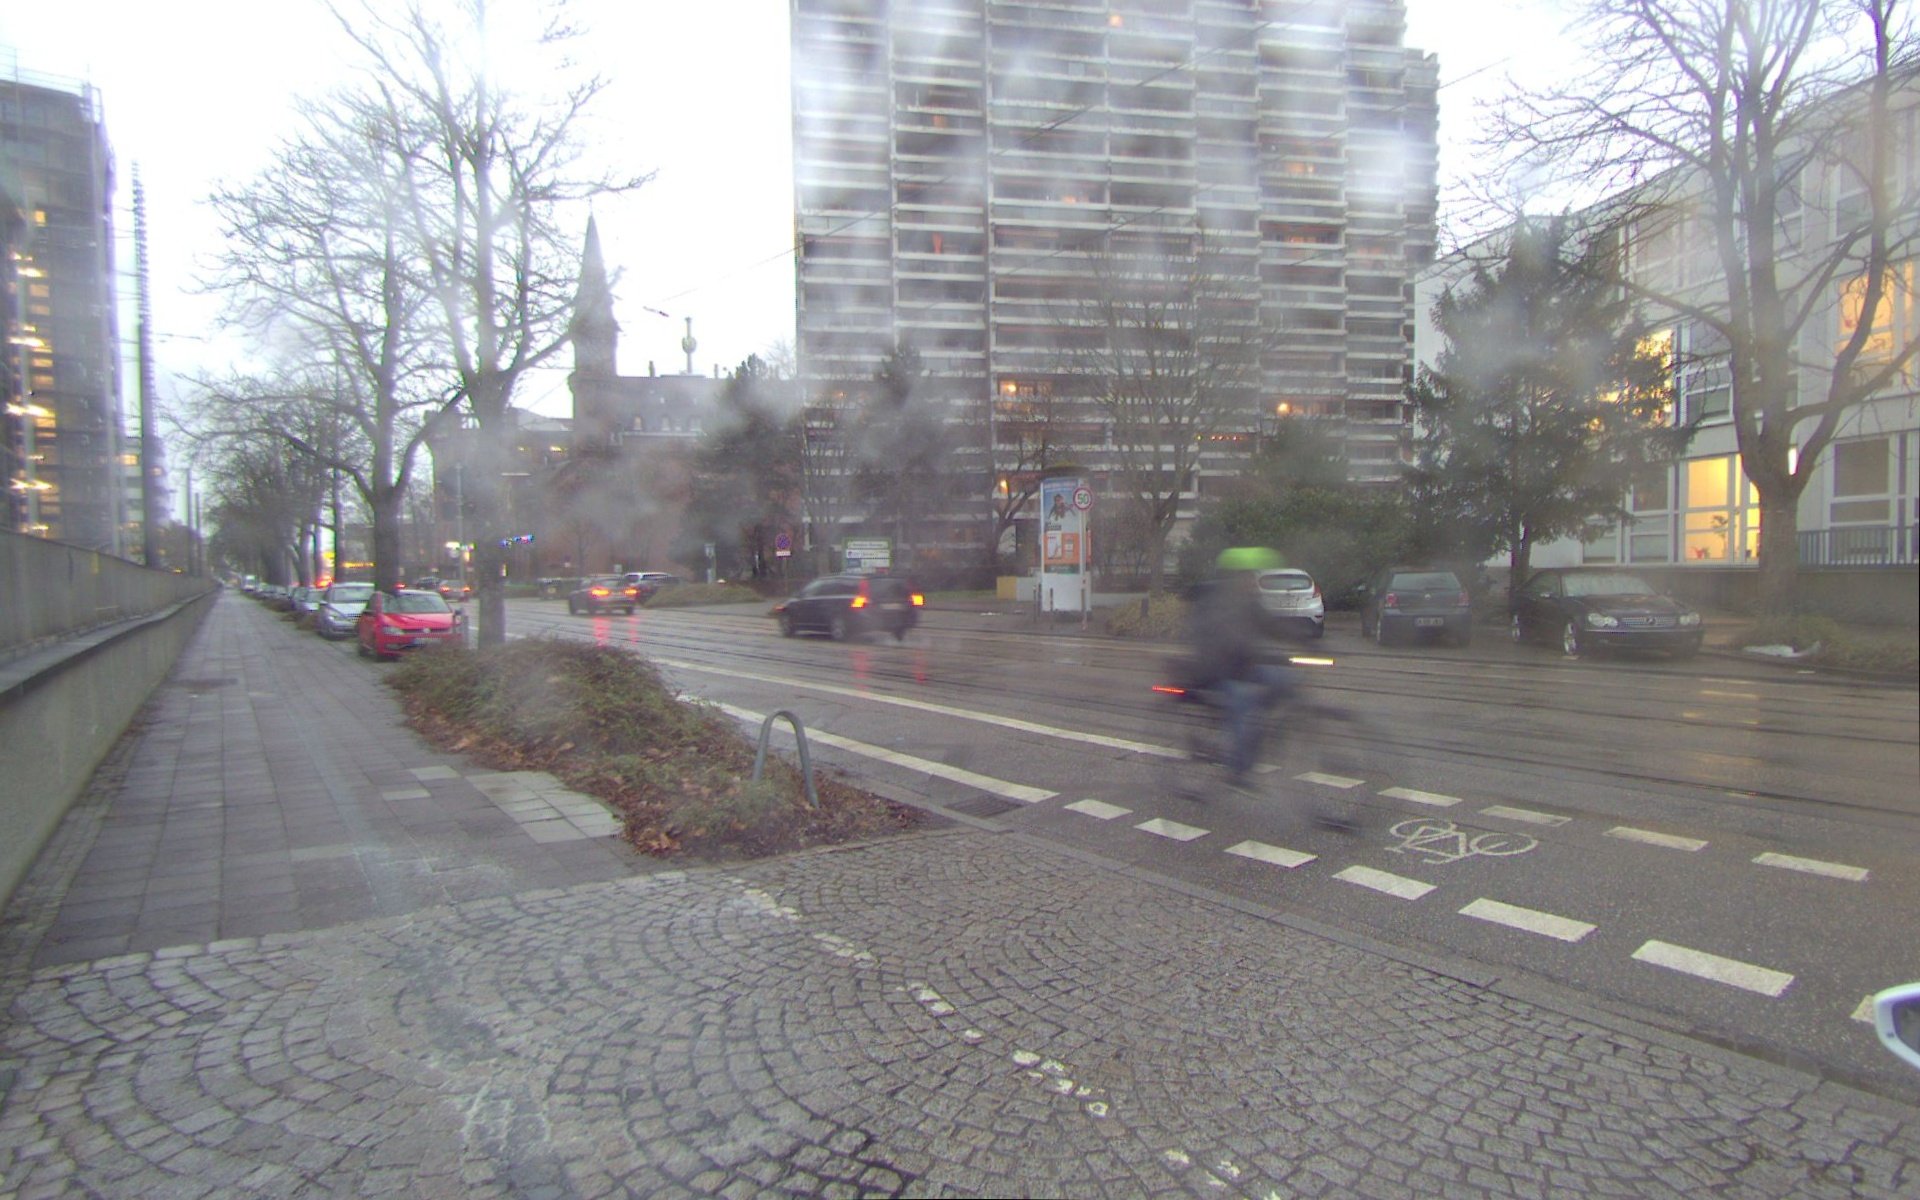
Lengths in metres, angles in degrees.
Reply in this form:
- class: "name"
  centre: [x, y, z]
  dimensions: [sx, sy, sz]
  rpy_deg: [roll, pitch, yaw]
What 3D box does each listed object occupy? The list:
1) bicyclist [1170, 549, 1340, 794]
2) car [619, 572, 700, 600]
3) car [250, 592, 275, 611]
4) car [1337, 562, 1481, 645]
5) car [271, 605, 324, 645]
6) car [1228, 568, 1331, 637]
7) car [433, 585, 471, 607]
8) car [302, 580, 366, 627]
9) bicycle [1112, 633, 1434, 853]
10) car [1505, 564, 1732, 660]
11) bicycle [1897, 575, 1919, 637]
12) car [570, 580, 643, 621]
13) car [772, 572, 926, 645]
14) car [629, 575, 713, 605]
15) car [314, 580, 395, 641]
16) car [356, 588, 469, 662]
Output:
- class: "bicyclist"
  centre: [1.902, 0.422, 6.525]
  dimensions: [0.651, 1.466, 0.841]
  rpy_deg: [-1, 1, -33]
- class: "car"
  centre: [-16.527, -0.790, 55.263]
  dimensions: [3.954, 1.506, 1.658]
  rpy_deg: [-1, 1, -31]
- class: "car"
  centre: [-60.199, 0.099, 86.739]
  dimensions: [1.736, 1.605, 3.700]
  rpy_deg: [-1, 1, -35]
- class: "car"
  centre: [8.879, 0.040, 20.194]
  dimensions: [1.818, 1.482, 4.002]
  rpy_deg: [-1, 1, 12]
- class: "car"
  centre: [-29.226, 1.058, 44.286]
  dimensions: [1.848, 1.615, 3.962]
  rpy_deg: [-1, 1, -34]
- class: "car"
  centre: [7.178, 0.025, 22.937]
  dimensions: [1.818, 1.418, 4.002]
  rpy_deg: [-1, 1, 12]
- class: "car"
  centre: [-34.937, -0.296, 69.026]
  dimensions: [1.750, 1.430, 3.959]
  rpy_deg: [-1, 1, -36]
- class: "car"
  centre: [-23.194, 0.111, 37.140]
  dimensions: [1.848, 1.615, 3.962]
  rpy_deg: [-1, 1, -34]
- class: "bicycle"
  centre: [1.924, 0.814, 6.504]
  dimensions: [0.702, 1.111, 2.010]
  rpy_deg: [-1, 1, -33]
- class: "car"
  centre: [10.784, 0.152, 16.819]
  dimensions: [1.818, 1.397, 4.002]
  rpy_deg: [-1, 1, 12]
- class: "bicycle"
  centre: [18.591, 0.087, 18.677]
  dimensions: [2.168, 1.136, 0.640]
  rpy_deg: [-1, 1, -14]
- class: "car"
  centre: [-14.666, 0.018, 41.513]
  dimensions: [1.696, 1.600, 4.335]
  rpy_deg: [-1, 1, -36]
- class: "car"
  centre: [-2.737, 0.160, 23.876]
  dimensions: [1.736, 1.565, 4.250]
  rpy_deg: [-1, 1, -37]
- class: "car"
  centre: [-15.067, -0.549, 52.449]
  dimensions: [3.954, 1.506, 1.658]
  rpy_deg: [-1, 1, -31]
- class: "car"
  centre: [-17.214, 0.262, 28.485]
  dimensions: [1.736, 1.605, 3.700]
  rpy_deg: [-1, 1, -35]
- class: "car"
  centre: [-11.763, 0.475, 21.479]
  dimensions: [1.736, 1.406, 3.700]
  rpy_deg: [-1, 1, -35]
